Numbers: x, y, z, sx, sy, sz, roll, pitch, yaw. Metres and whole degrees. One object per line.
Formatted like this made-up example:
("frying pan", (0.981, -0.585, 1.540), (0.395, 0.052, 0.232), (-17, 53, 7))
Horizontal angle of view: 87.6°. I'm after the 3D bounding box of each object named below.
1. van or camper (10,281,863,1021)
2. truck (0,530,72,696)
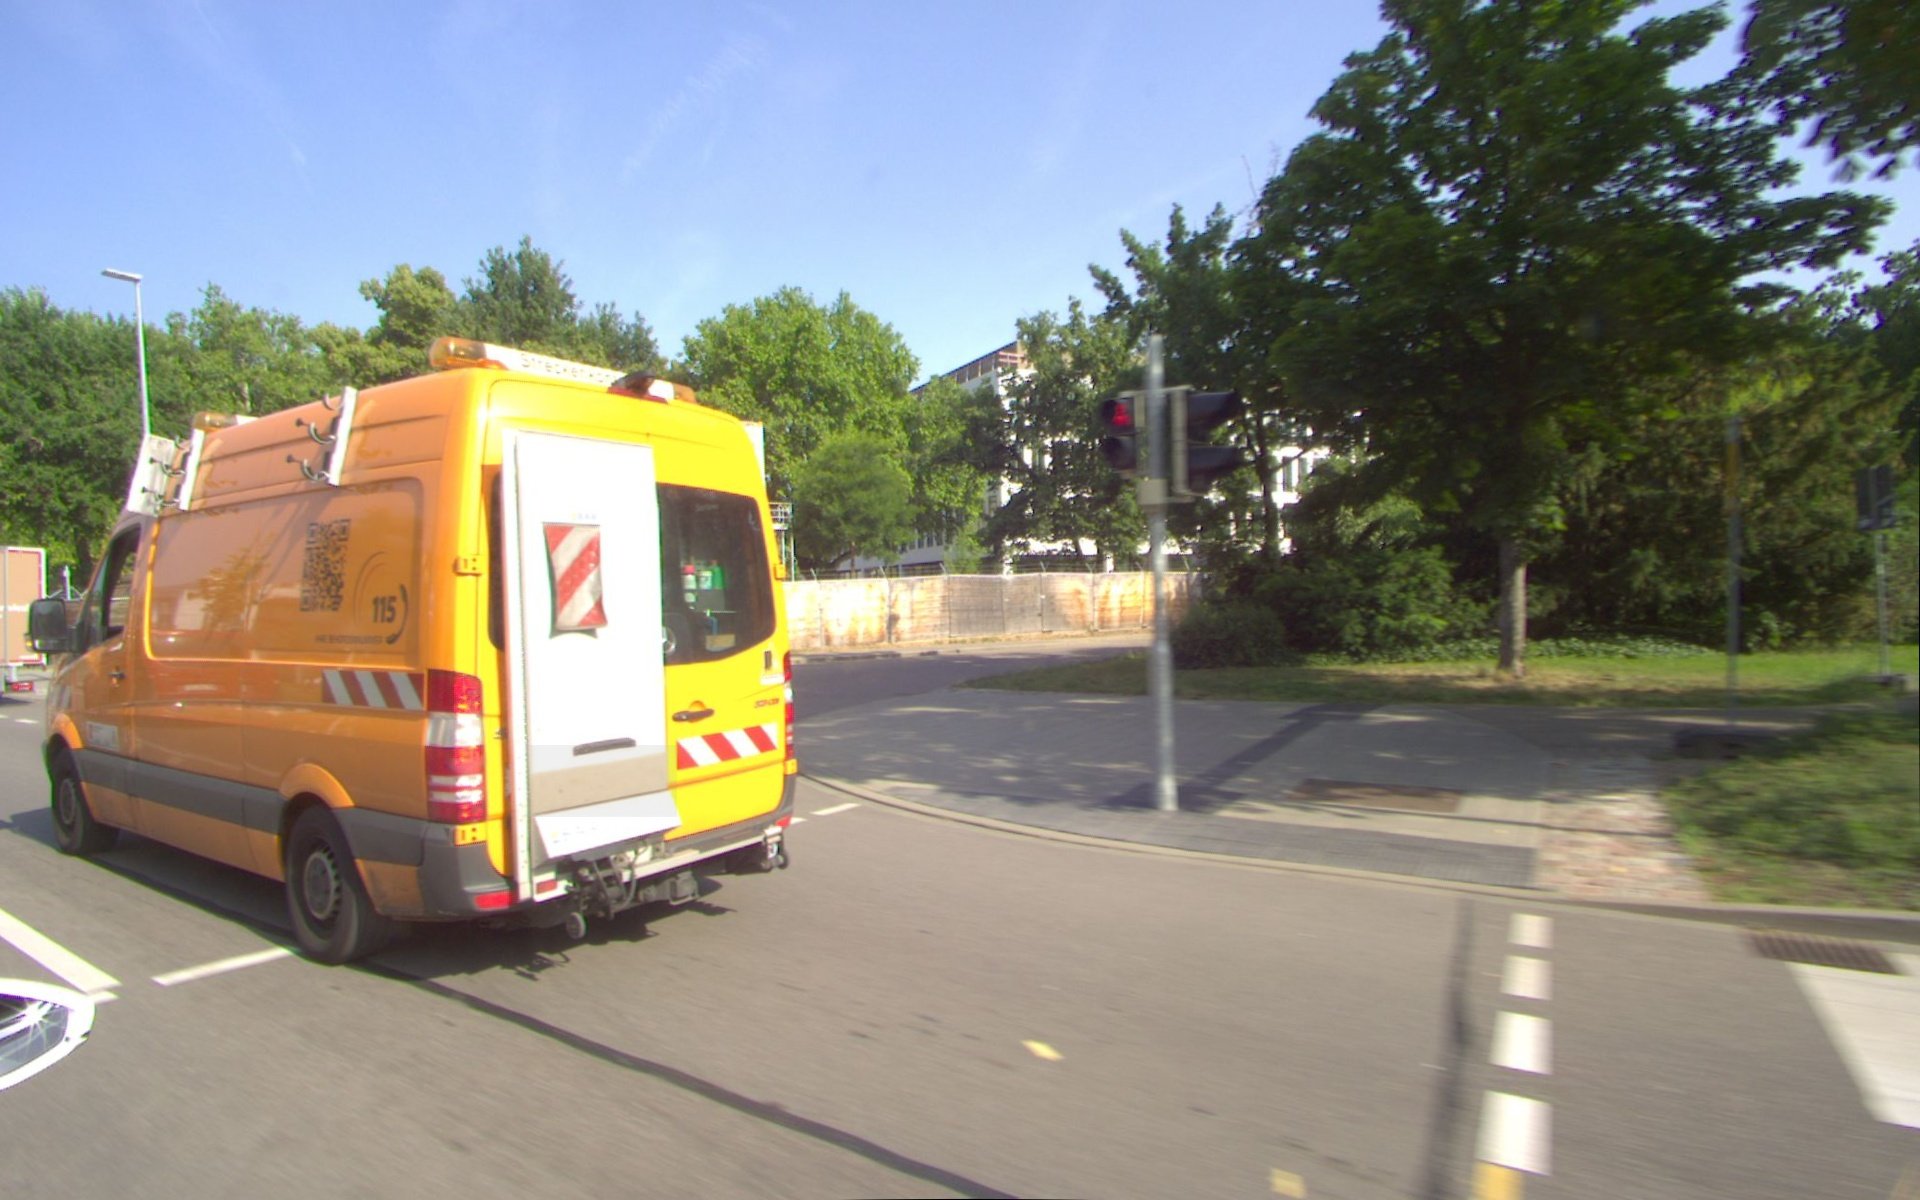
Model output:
("van or camper", (-3.488, 0.227, 5.935), (5.980, 2.504, 1.980), (-1, -1, 35))
("truck", (-21.407, 0.344, 20.264), (7.697, 3.100, 2.502), (-2, -1, 27))
